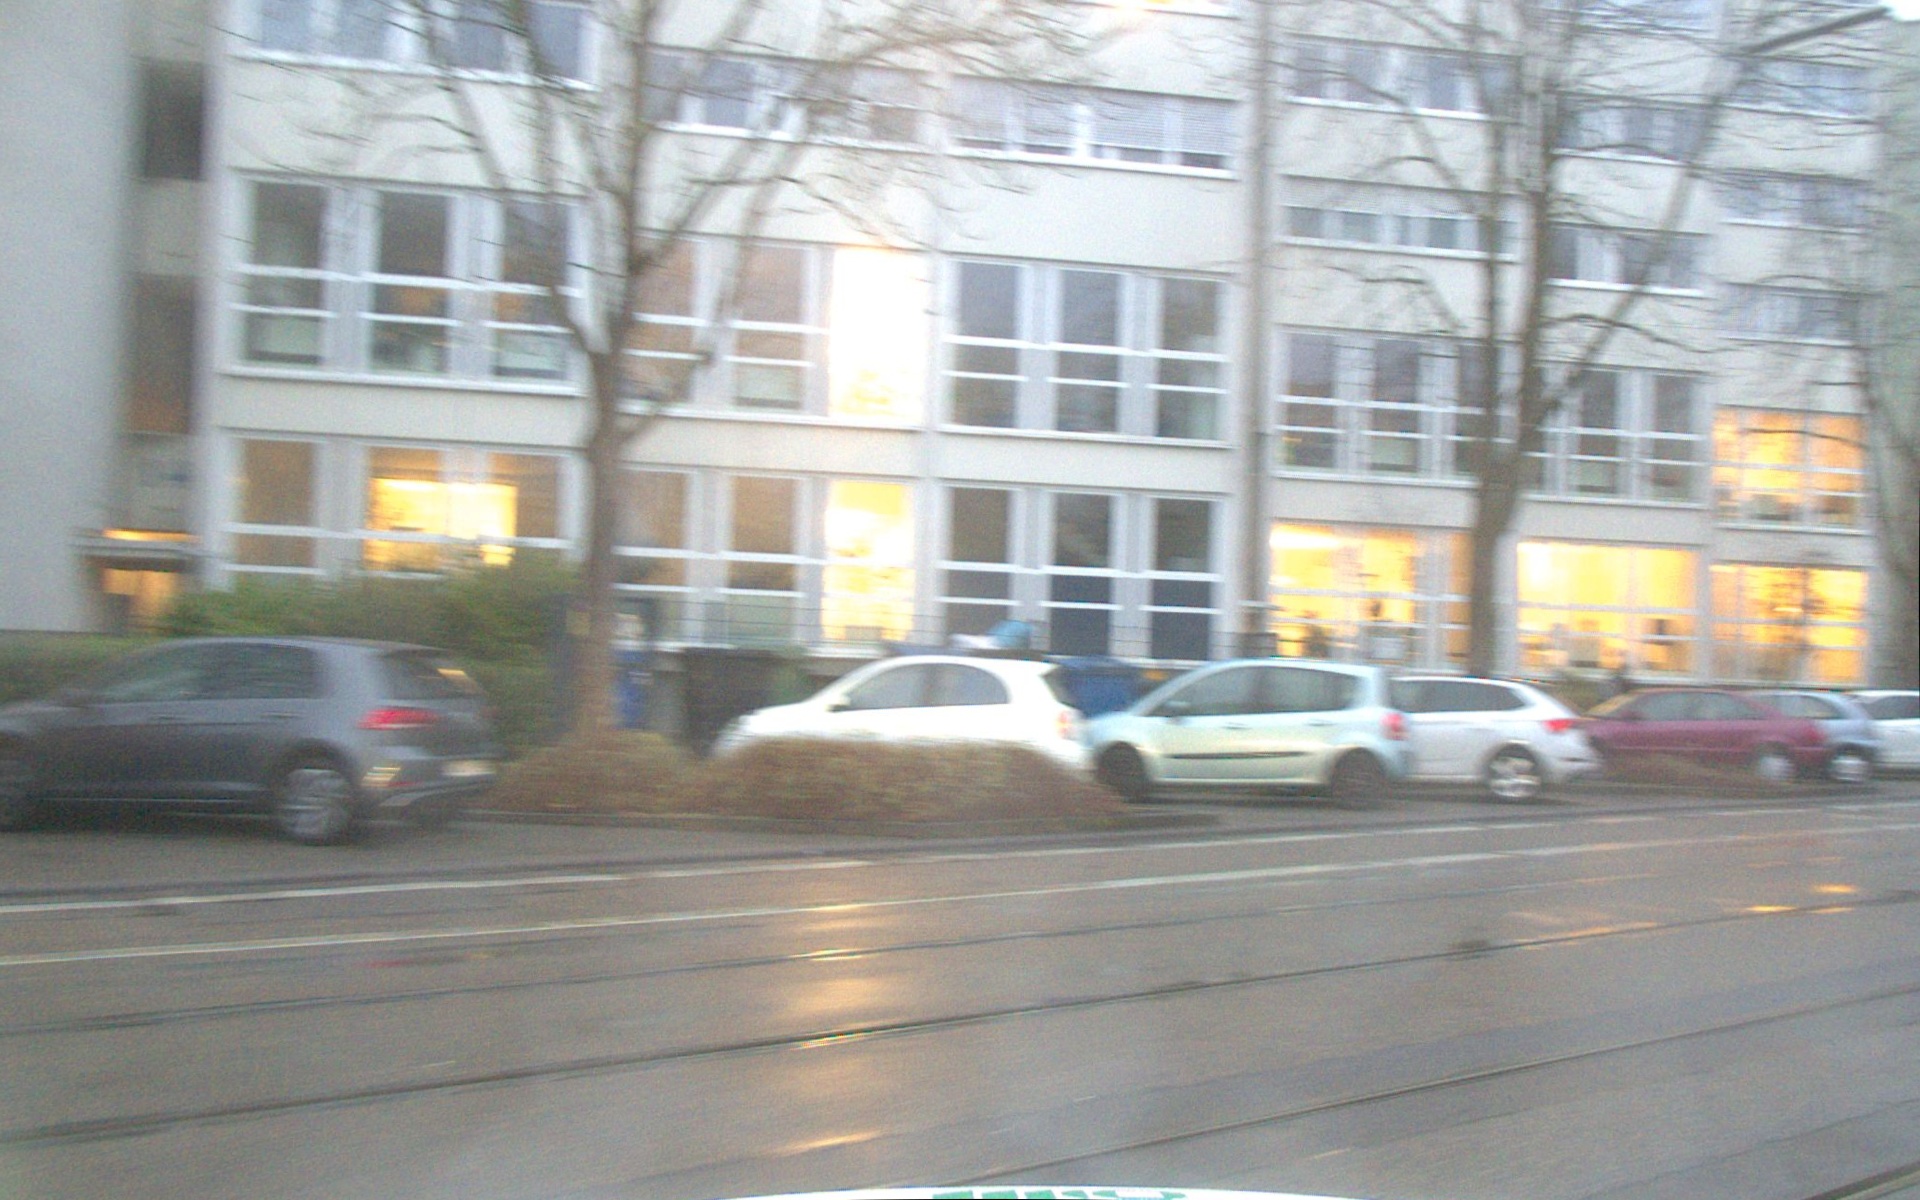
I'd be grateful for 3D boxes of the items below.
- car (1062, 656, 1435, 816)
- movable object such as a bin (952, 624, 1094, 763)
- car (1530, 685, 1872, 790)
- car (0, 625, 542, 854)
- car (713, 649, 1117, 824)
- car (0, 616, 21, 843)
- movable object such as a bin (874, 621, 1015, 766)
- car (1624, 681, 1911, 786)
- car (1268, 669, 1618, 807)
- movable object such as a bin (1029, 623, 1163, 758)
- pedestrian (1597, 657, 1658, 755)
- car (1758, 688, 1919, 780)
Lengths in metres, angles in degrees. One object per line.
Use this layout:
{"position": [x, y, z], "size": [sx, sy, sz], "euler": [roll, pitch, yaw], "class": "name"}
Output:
{"position": [3.210, 1.453, 18.436], "size": [3.902, 1.591, 1.738], "euler": [0, -2, 13], "class": "car"}
{"position": [0.881, 1.293, 23.497], "size": [1.377, 1.893, 1.556], "euler": [1, -2, -34], "class": "movable object such as a bin"}
{"position": [10.729, 1.980, 24.210], "size": [4.241, 1.376, 1.751], "euler": [1, -3, 6], "class": "car"}
{"position": [-5.302, 0.984, 12.484], "size": [3.759, 1.519, 1.697], "euler": [1, -2, 11], "class": "car"}
{"position": [-0.383, 1.320, 16.634], "size": [3.781, 1.579, 1.694], "euler": [1, -2, 10], "class": "car"}
{"position": [-8.233, 0.828, 10.754], "size": [3.366, 1.519, 1.731], "euler": [0, -2, 13], "class": "car"}
{"position": [-0.227, 1.249, 22.697], "size": [1.302, 1.893, 1.556], "euler": [1, -2, -34], "class": "movable object such as a bin"}
{"position": [12.694, 2.080, 26.278], "size": [3.904, 1.489, 1.737], "euler": [0, -3, 20], "class": "car"}
{"position": [5.834, 1.622, 19.970], "size": [3.905, 1.469, 1.736], "euler": [0, -3, 22], "class": "car"}
{"position": [1.984, 1.299, 24.280], "size": [1.302, 1.893, 1.556], "euler": [1, -2, -34], "class": "movable object such as a bin"}
{"position": [11.804, 1.863, 29.227], "size": [0.962, 1.706, 0.591], "euler": [2, -3, -36], "class": "pedestrian"}
{"position": [15.814, 2.268, 28.061], "size": [3.758, 1.448, 1.738], "euler": [1, -2, 9], "class": "car"}
